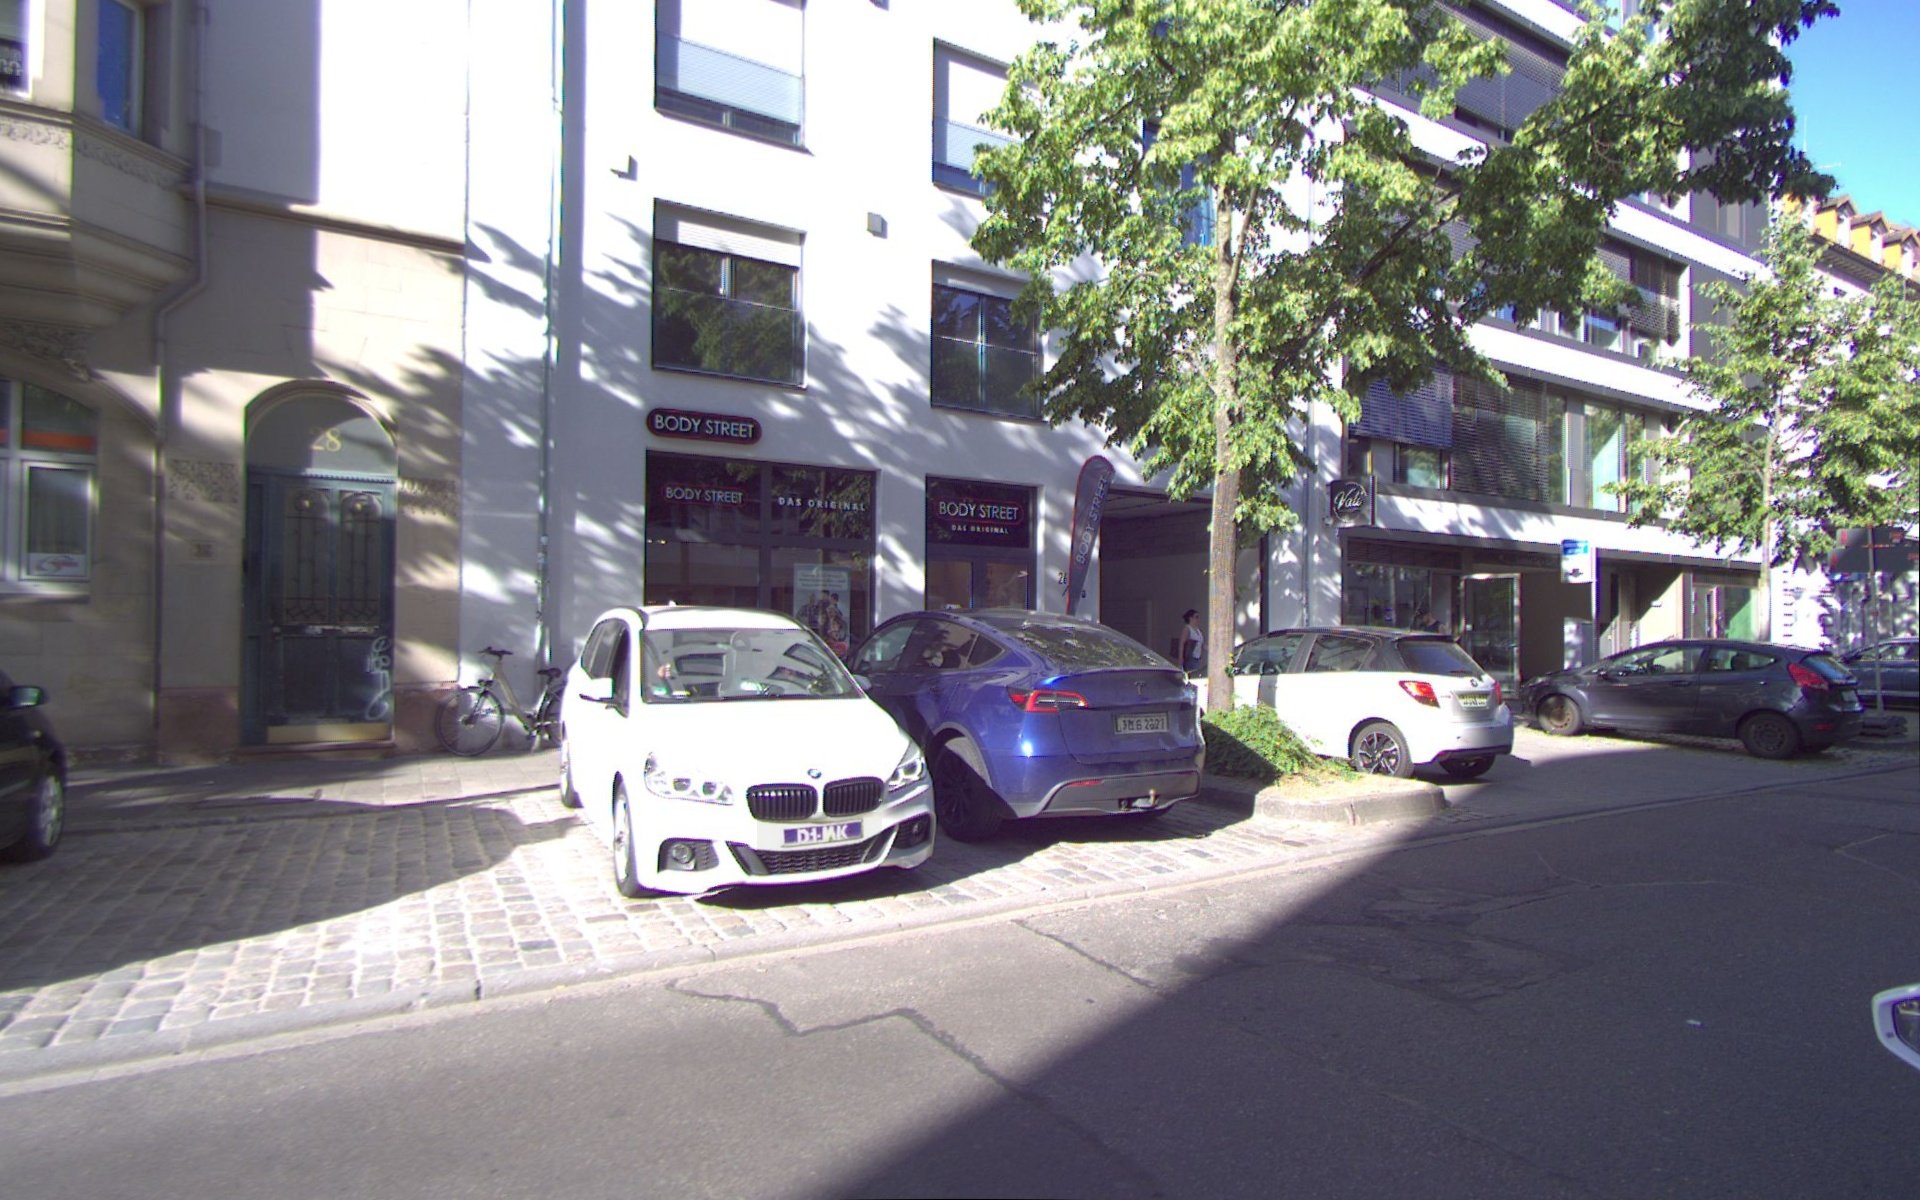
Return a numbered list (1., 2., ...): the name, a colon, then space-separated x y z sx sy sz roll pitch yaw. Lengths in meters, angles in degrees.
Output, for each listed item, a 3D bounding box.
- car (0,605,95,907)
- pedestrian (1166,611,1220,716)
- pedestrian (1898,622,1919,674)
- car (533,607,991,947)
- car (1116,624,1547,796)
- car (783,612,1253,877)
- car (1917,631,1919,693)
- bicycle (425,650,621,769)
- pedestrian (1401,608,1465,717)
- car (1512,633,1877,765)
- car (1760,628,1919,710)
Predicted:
1. car: -5.720 0.801 4.702 1.770 1.579 3.783 1 -1 -29
2. pedestrian: 3.955 1.064 17.071 0.731 1.758 0.647 0 -1 -3
3. pedestrian: 27.064 1.353 28.412 0.814 1.427 0.506 0 0 -26
4. car: -1.720 0.866 7.090 1.923 1.591 4.347 1 -1 -29
5. car: 3.900 1.039 11.250 1.959 1.478 4.220 1 -1 -33
6. car: 0.161 0.916 8.484 1.956 1.591 4.347 1 -1 -29
7. car: 24.691 1.499 22.847 1.749 1.505 3.903 1 -1 -28
8. bicycle: -4.603 1.116 10.628 1.830 1.122 0.539 1 1 -32
9. pedestrian: 8.157 1.059 17.344 0.733 1.821 0.699 1 -1 -19
10. car: 9.976 1.233 13.881 1.764 1.478 3.753 1 -1 -37
11. car: 18.909 1.377 19.878 1.770 1.478 4.469 1 0 -31
